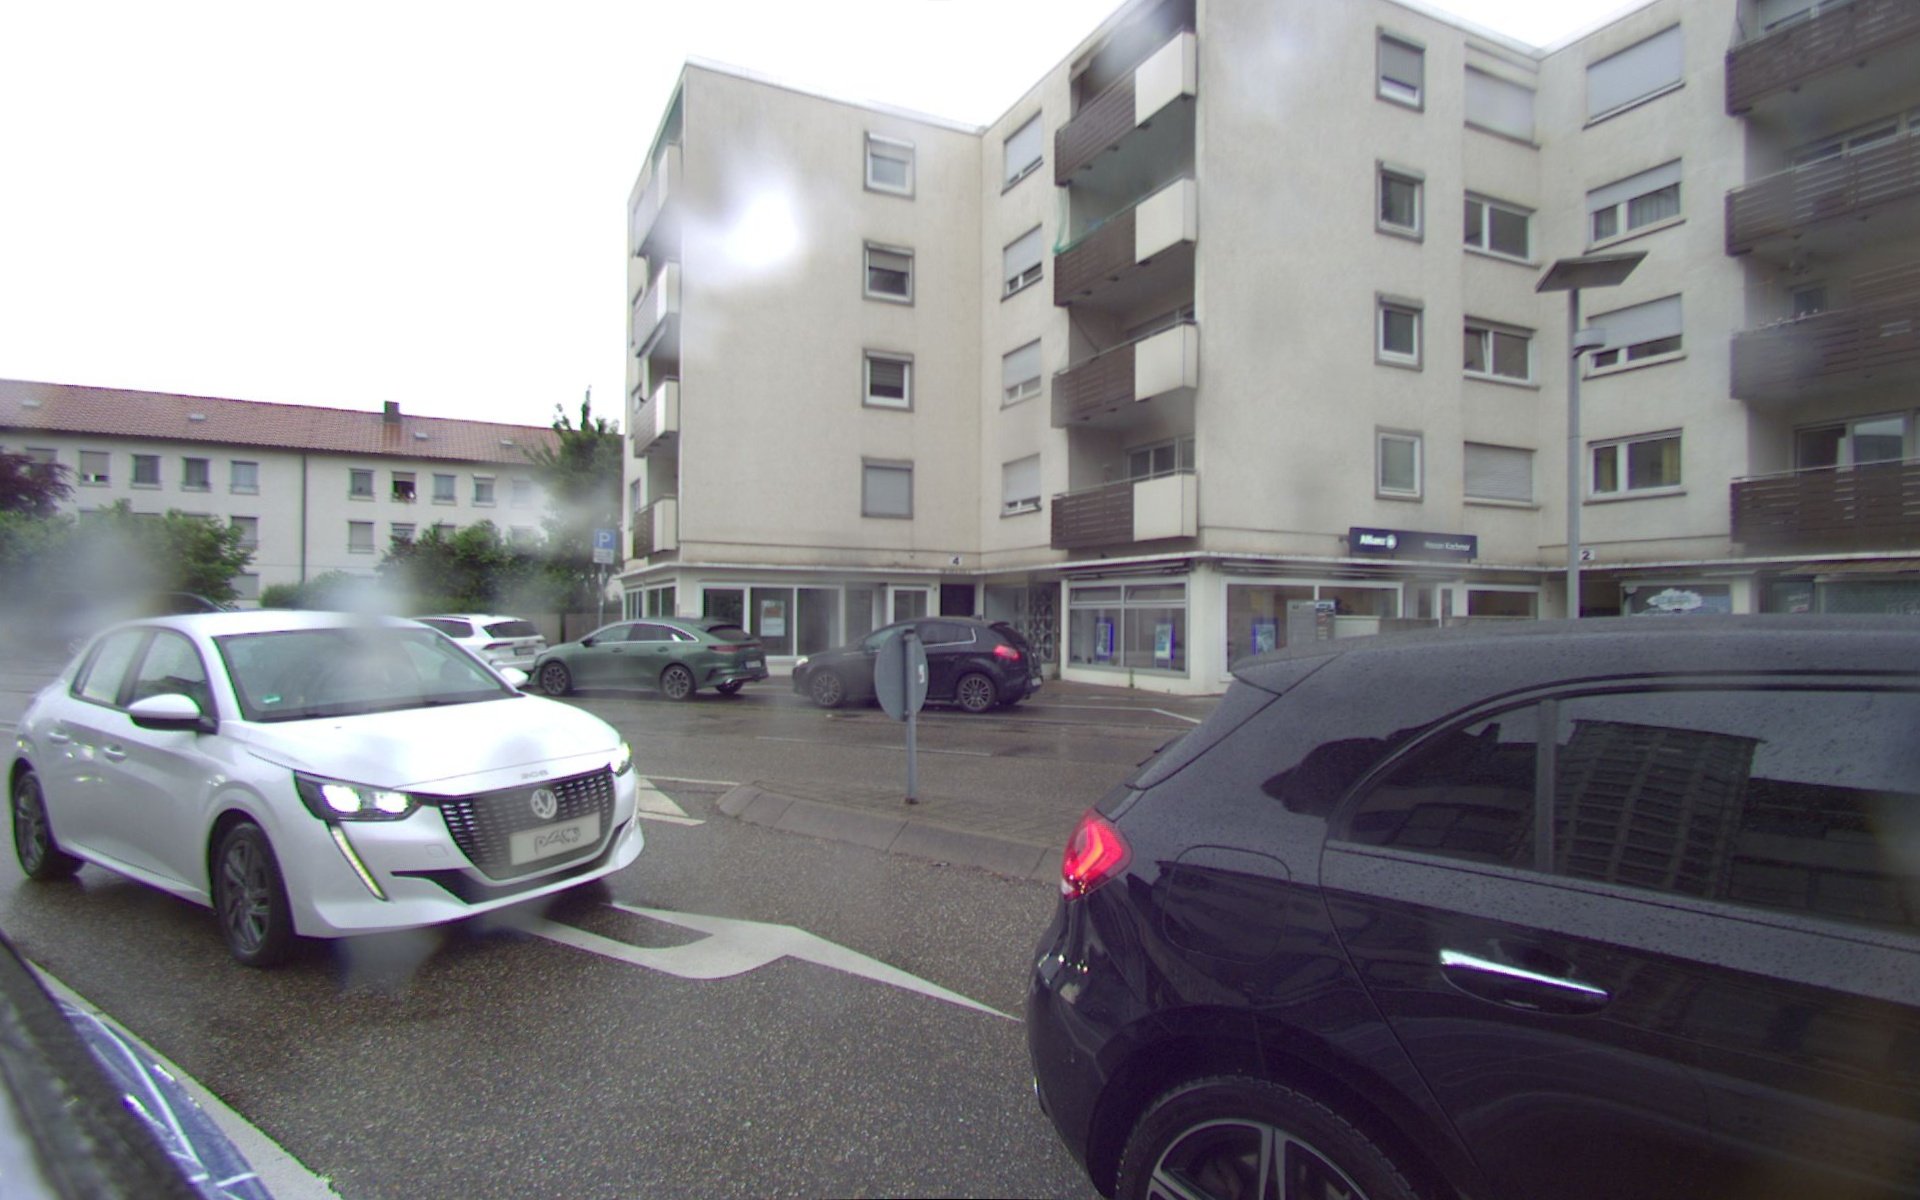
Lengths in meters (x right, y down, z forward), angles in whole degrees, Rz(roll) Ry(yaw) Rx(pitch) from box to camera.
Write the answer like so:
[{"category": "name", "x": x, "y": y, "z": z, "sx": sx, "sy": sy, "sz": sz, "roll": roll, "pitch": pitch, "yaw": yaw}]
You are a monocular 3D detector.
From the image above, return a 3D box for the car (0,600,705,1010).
[{"category": "car", "x": -3.372, "y": 0.744, "z": 5.315, "sx": 3.882, "sy": 1.420, "sz": 1.726, "roll": -1, "pitch": 0, "yaw": 31}]

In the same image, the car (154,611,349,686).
[{"category": "car", "x": -15.646, "y": 1.022, "z": 22.365, "sx": 3.852, "sy": 1.517, "sz": 1.623, "roll": 0, "pitch": -1, "yaw": 20}]

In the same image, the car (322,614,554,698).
[{"category": "car", "x": -10.465, "y": 1.064, "z": 20.288, "sx": 4.313, "sy": 1.511, "sz": 1.627, "roll": 0, "pitch": -1, "yaw": 20}]

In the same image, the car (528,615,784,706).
[{"category": "car", "x": -5.545, "y": 1.035, "z": 18.517, "sx": 4.241, "sy": 1.445, "sz": 1.826, "roll": 0, "pitch": 0, "yaw": 19}]

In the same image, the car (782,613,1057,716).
[{"category": "car", "x": -0.651, "y": 0.979, "z": 16.629, "sx": 4.156, "sy": 1.471, "sz": 1.825, "roll": 0, "pitch": 0, "yaw": 20}]

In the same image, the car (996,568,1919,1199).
[{"category": "car", "x": 2.174, "y": 0.683, "z": 1.305, "sx": 4.090, "sy": 1.492, "sz": 1.646, "roll": -2, "pitch": -1, "yaw": 40}]
